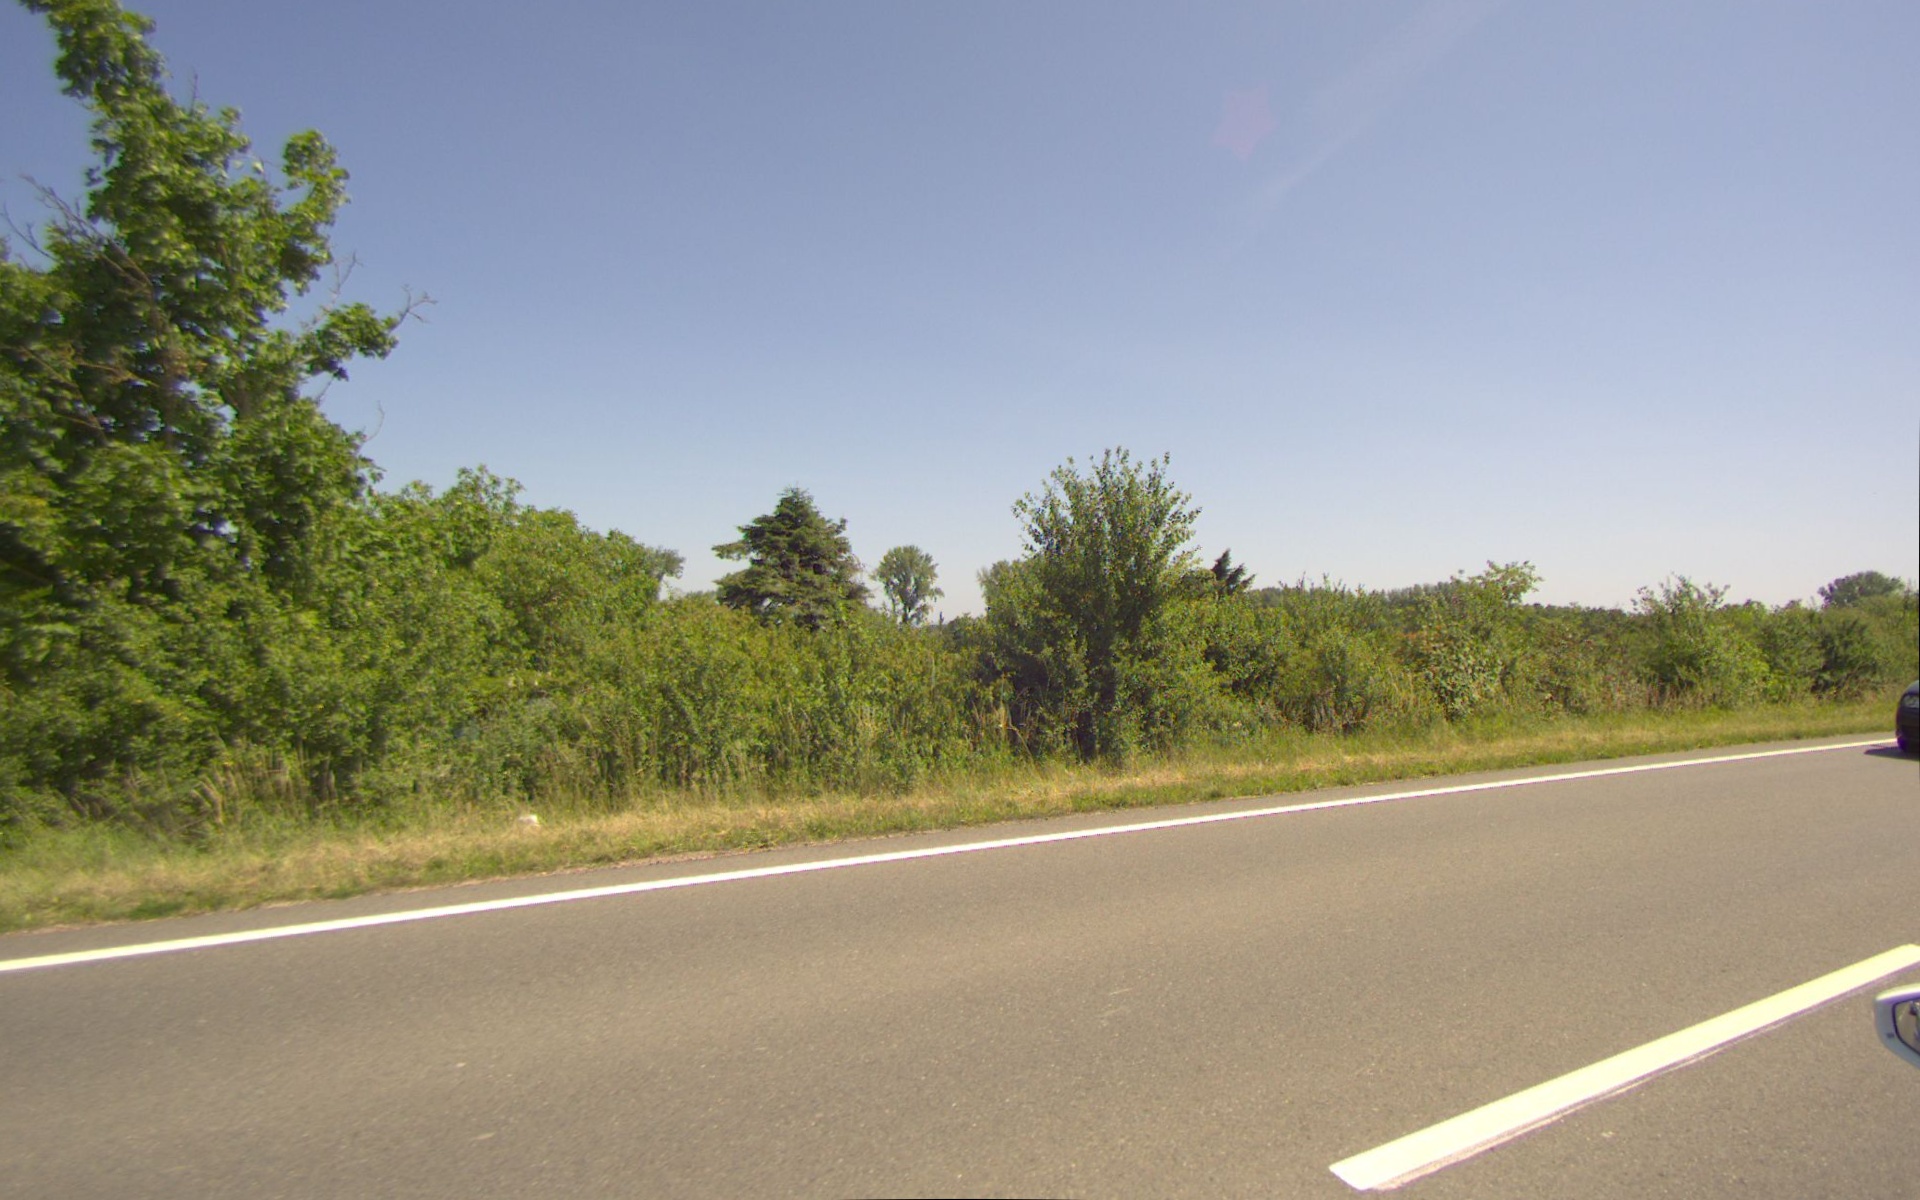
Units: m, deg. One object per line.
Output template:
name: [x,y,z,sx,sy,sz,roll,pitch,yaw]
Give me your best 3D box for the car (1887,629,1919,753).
car: [12.687,1.081,11.749,3.781,1.381,1.684,2,0,-30]
